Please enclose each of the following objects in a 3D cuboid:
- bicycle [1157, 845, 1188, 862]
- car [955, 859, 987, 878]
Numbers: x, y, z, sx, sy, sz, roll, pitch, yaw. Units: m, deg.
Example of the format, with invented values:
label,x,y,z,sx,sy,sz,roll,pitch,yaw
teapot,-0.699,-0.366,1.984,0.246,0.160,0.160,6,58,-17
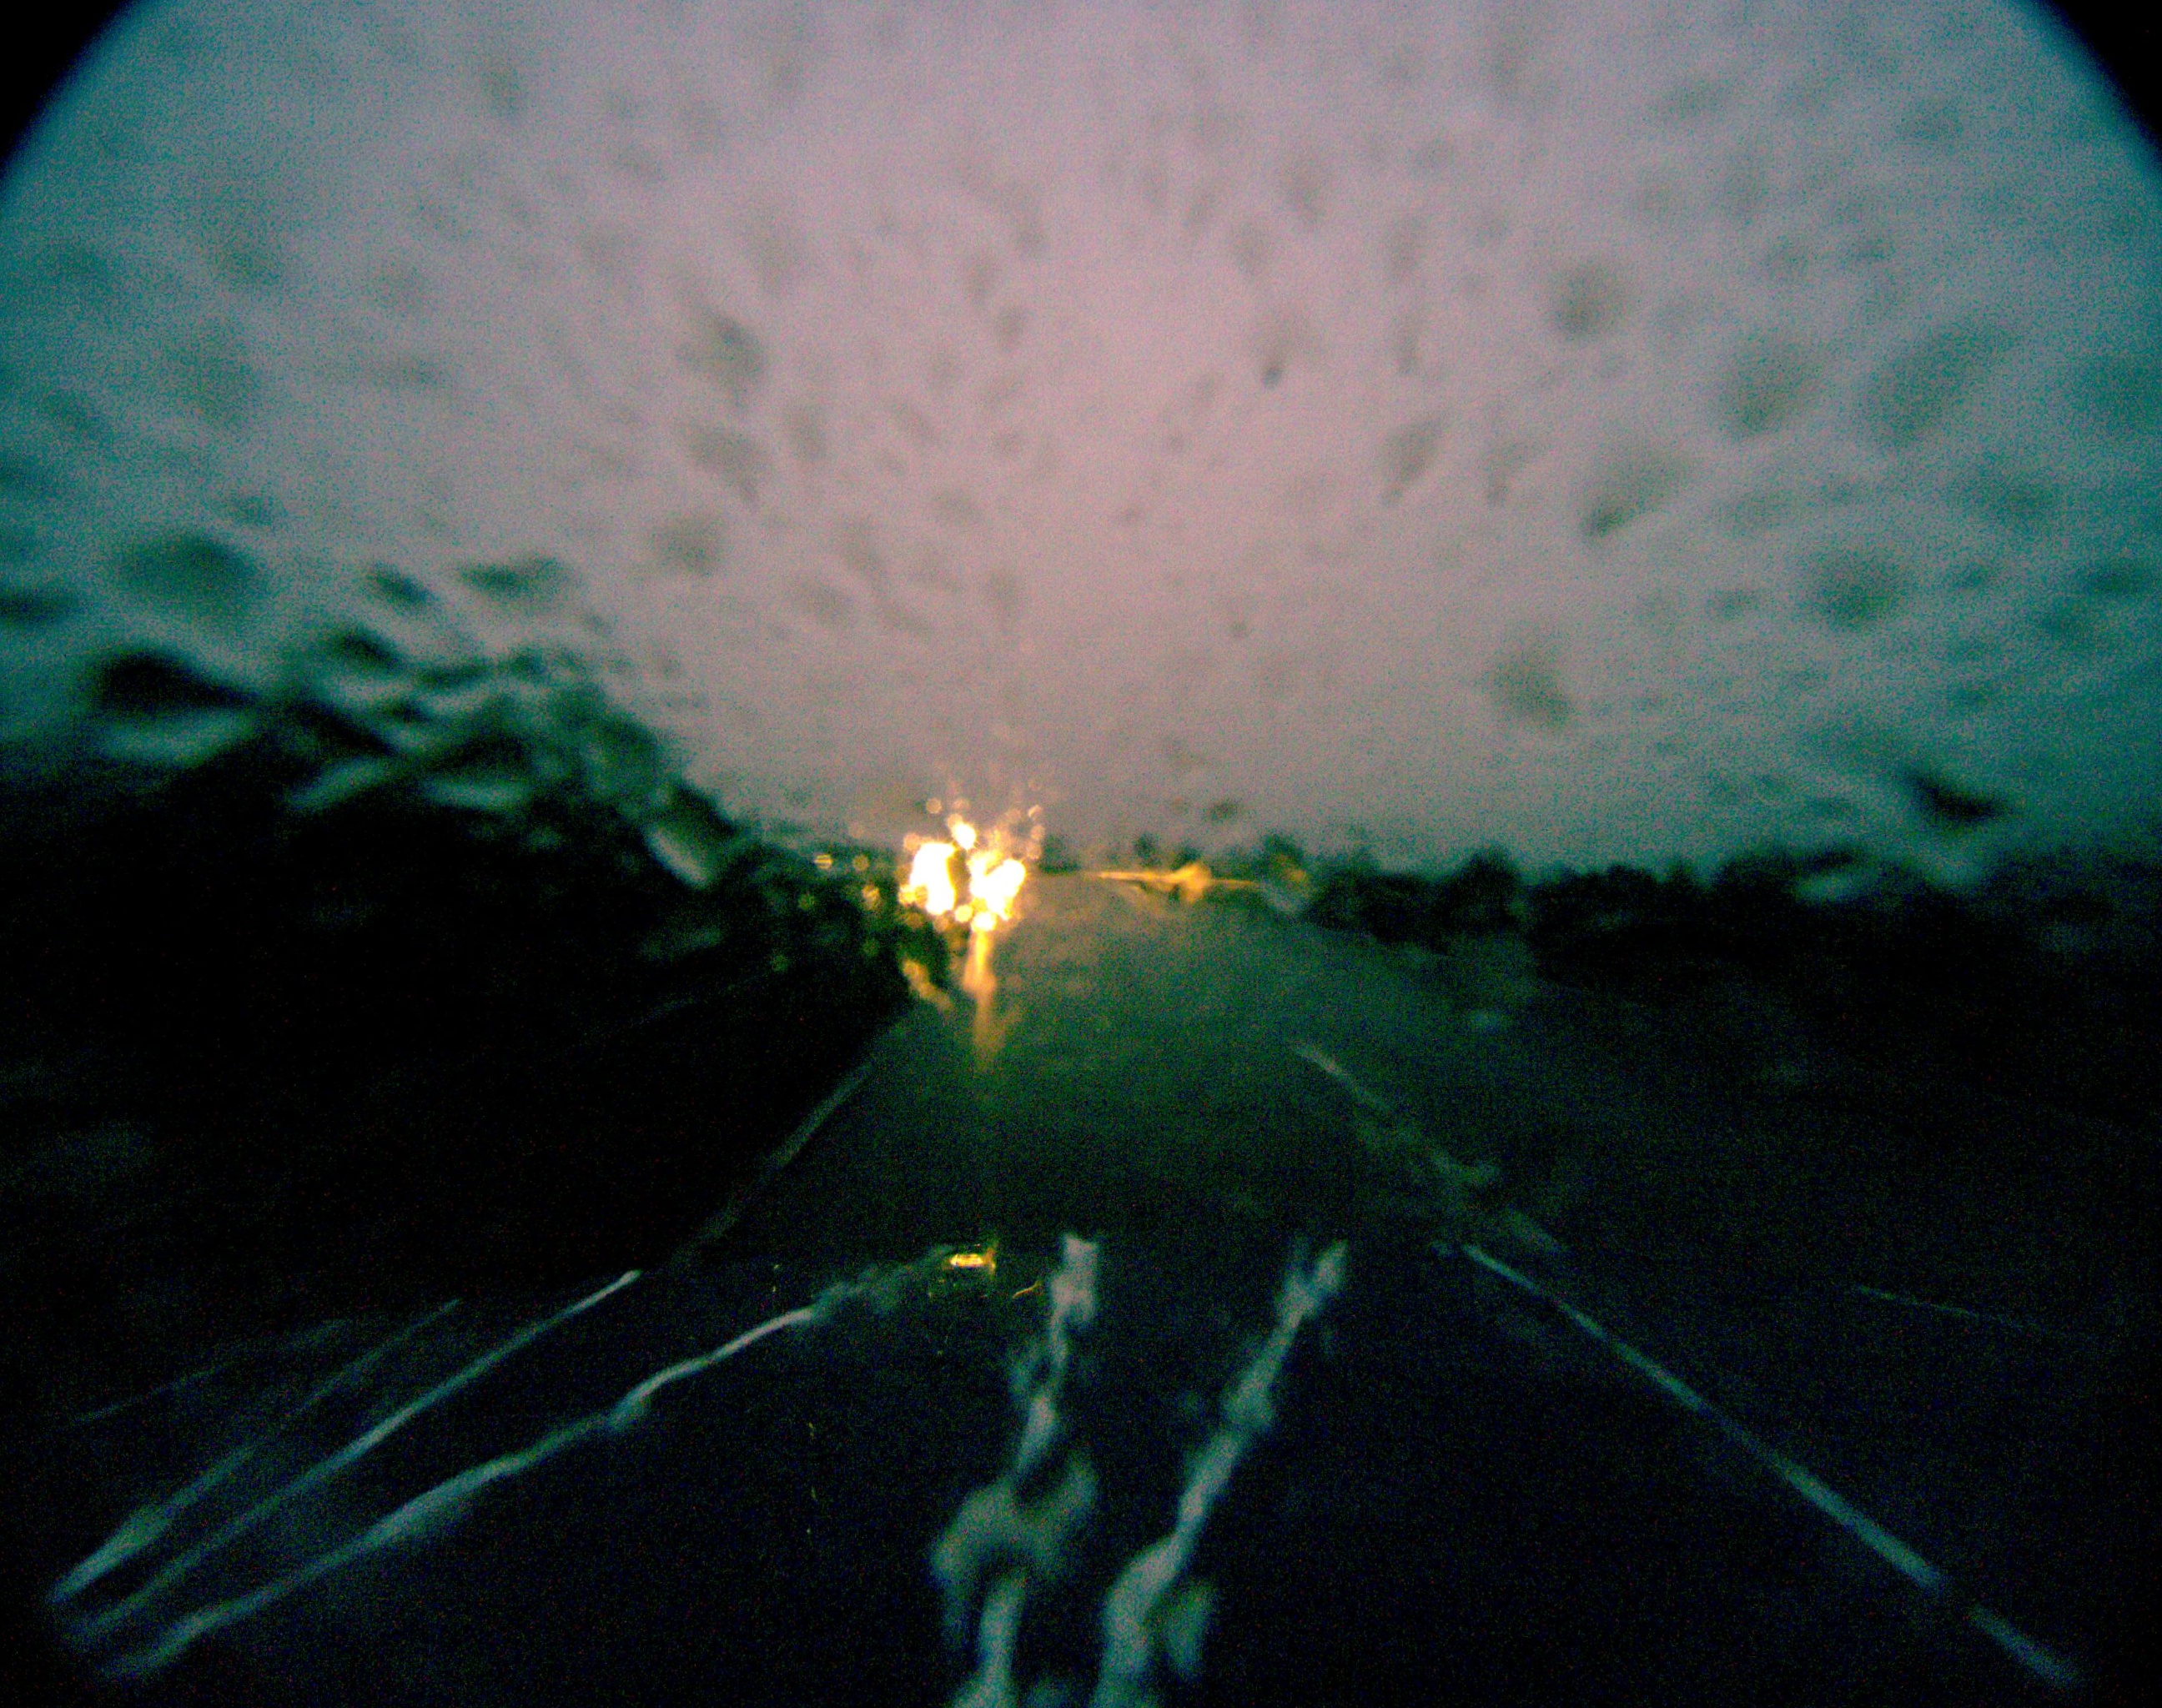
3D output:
label,x,y,z,sx,sy,sz,roll,pitch,yaw
bicycle,11.439,-0.079,95.011,2.002,2.002,3.992,-1,0,-25
car,-9.837,1.314,67.689,2.105,1.565,4.794,1,-2,-16
